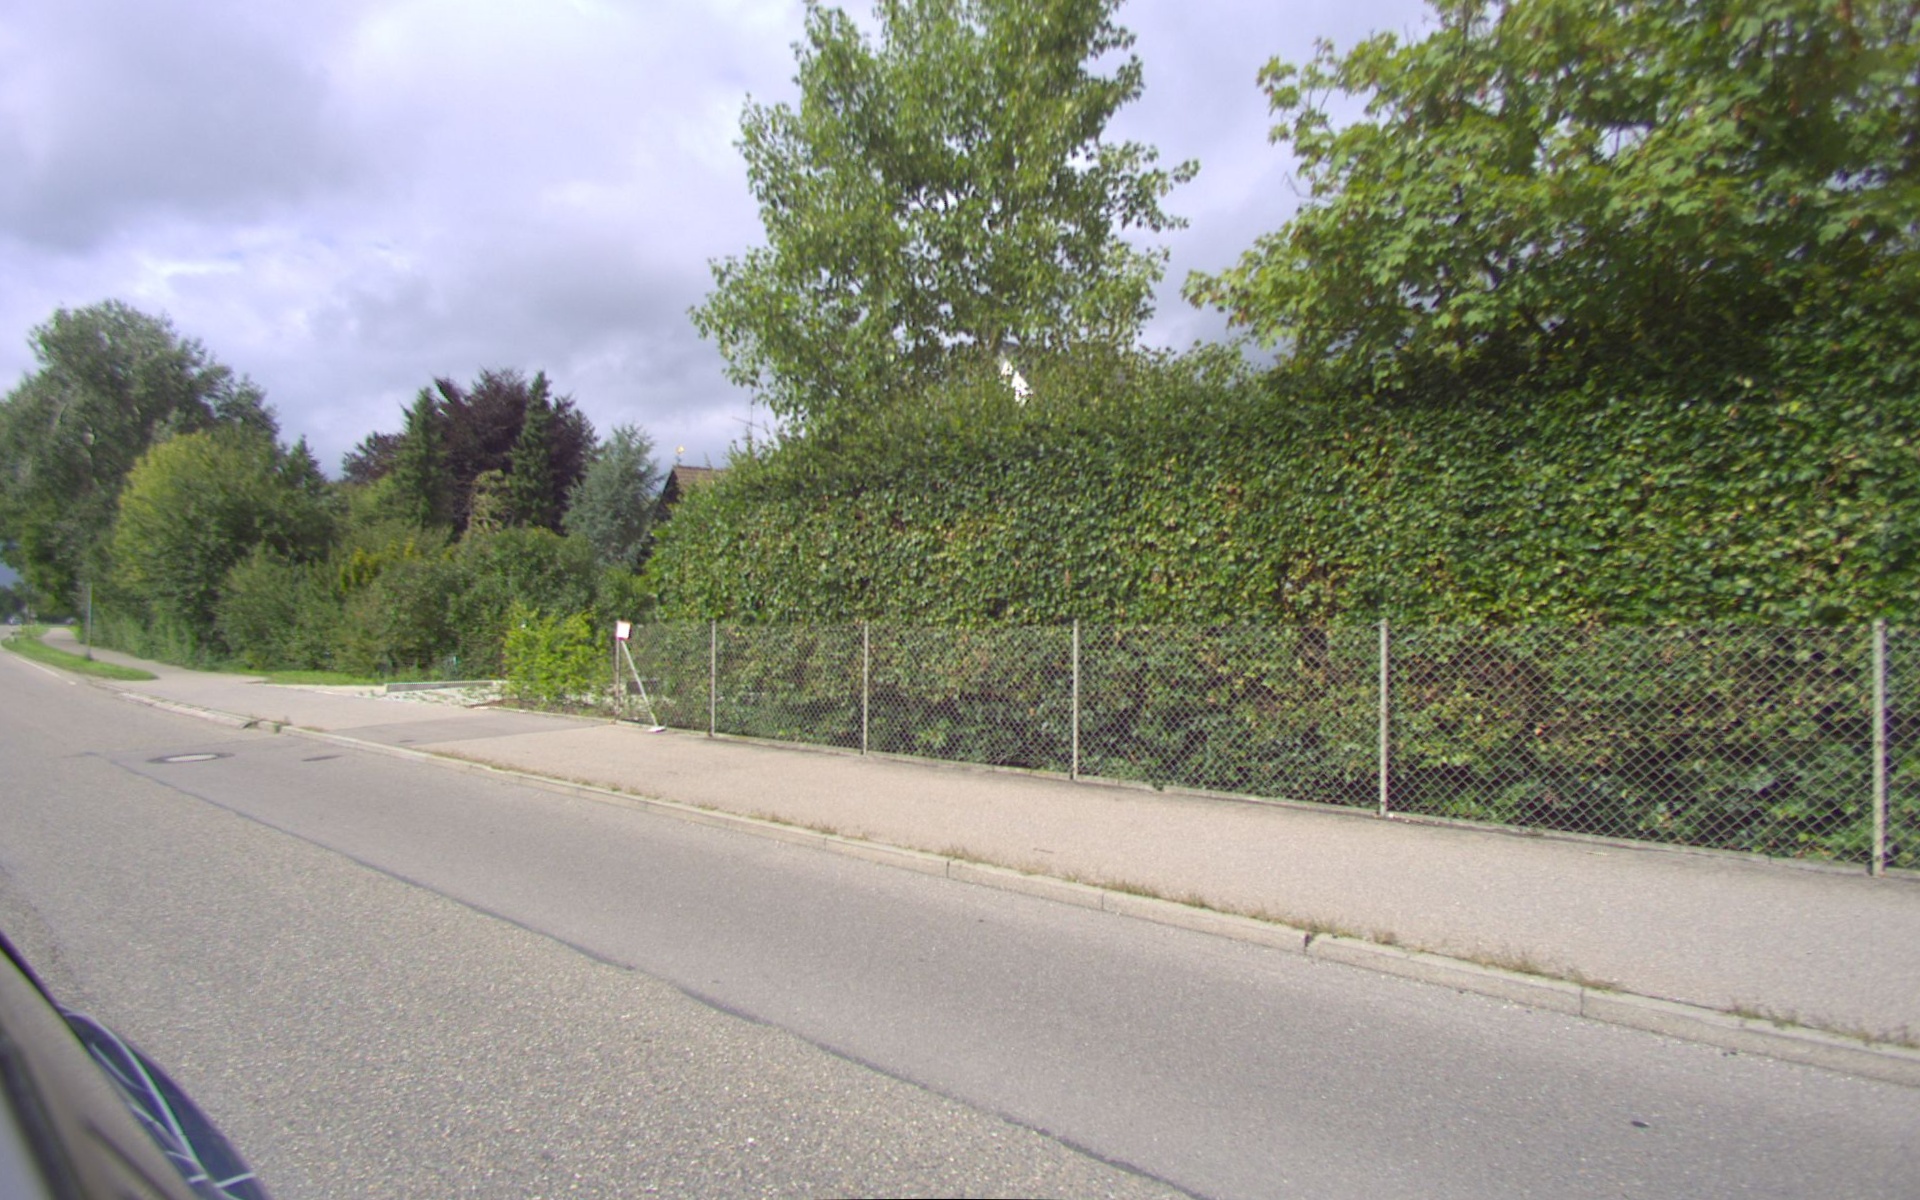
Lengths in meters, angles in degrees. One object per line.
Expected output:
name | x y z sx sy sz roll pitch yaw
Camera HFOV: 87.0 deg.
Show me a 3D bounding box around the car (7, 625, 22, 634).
car | -172.986 5.384 185.149 1.789 1.663 4.297 4 -4 -42
